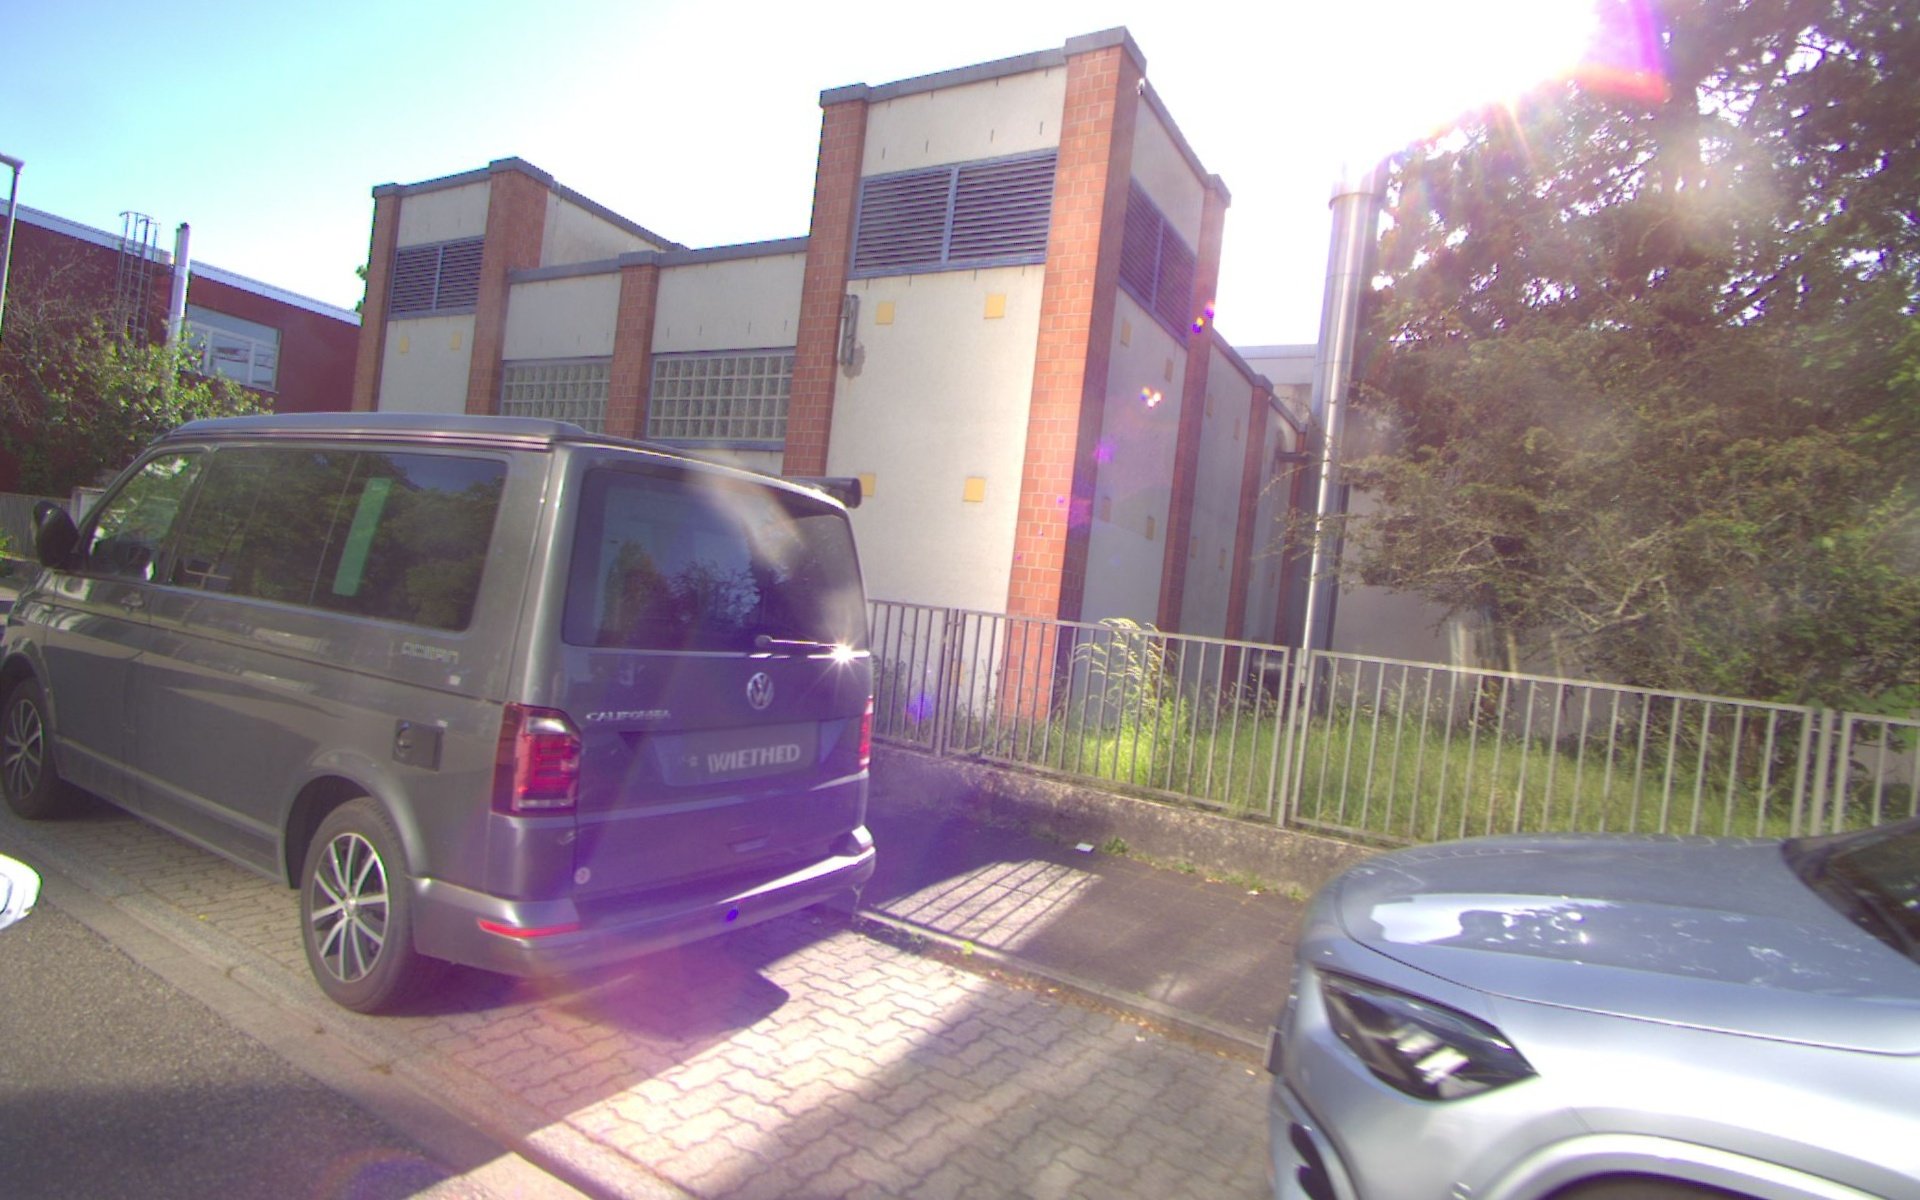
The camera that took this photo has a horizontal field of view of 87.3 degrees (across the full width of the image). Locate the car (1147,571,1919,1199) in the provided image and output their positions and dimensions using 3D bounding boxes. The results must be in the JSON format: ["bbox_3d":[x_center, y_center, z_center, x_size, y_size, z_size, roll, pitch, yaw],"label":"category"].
[{"bbox_3d":[2.682,0.997,1.741,4.222,1.650,1.827,6,1,31],"label":"car"}]

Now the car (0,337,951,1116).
[{"bbox_3d":[-2.647,0.188,4.688,4.745,2.047,1.945,6,0,31],"label":"car"}]
